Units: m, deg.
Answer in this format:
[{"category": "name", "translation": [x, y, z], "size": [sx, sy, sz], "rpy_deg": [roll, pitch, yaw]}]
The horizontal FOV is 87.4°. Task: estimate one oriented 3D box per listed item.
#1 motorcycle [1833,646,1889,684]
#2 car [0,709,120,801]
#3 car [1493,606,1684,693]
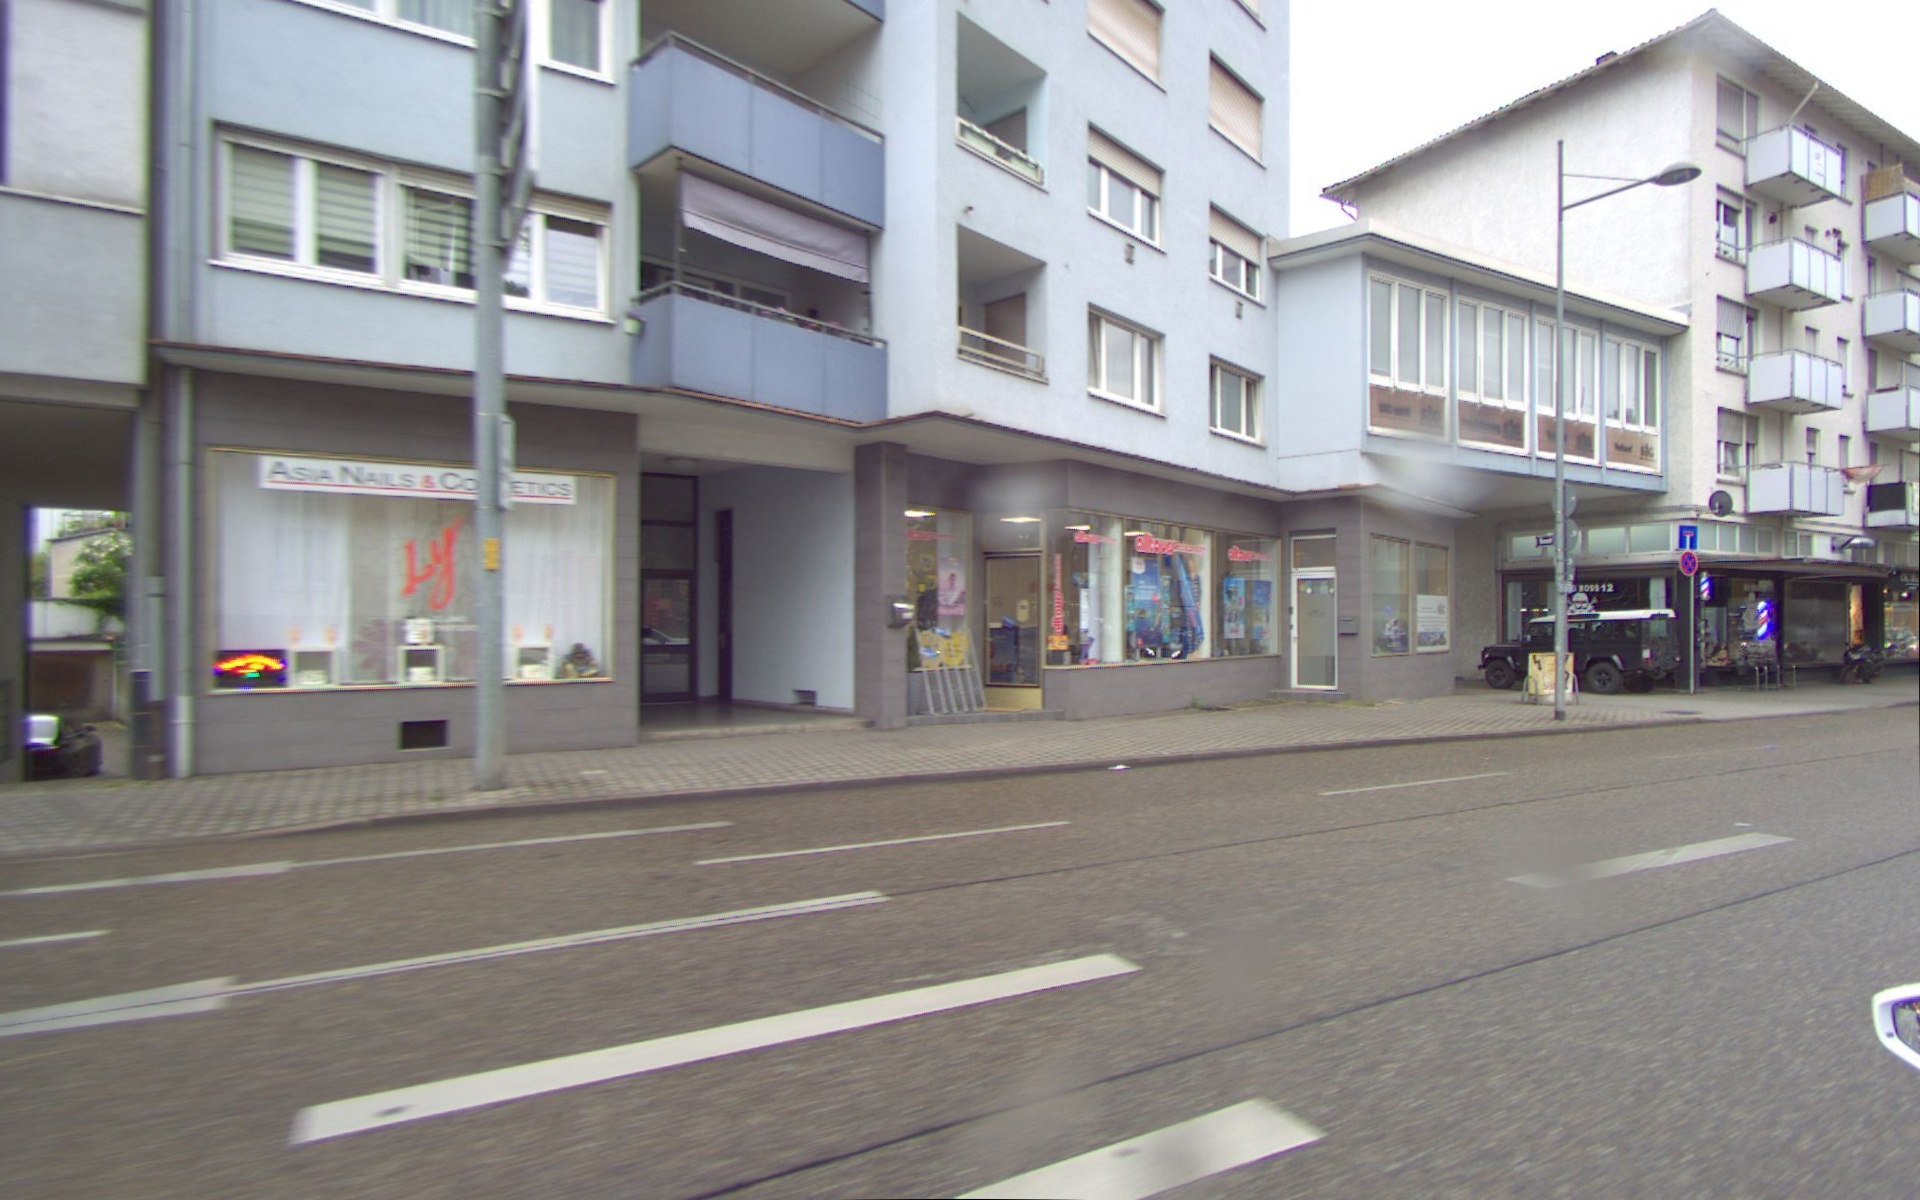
[{"category": "motorcycle", "translation": [25.721, 1.834, 28.661], "size": [2.110, 1.008, 0.523], "rpy_deg": [1, 0, -29]}, {"category": "car", "translation": [-18.729, 3.070, 20.298], "size": [1.853, 1.368, 3.972], "rpy_deg": [0, -1, -27]}, {"category": "car", "translation": [16.033, 1.232, 25.845], "size": [1.559, 2.061, 3.951], "rpy_deg": [1, -2, -26]}]
